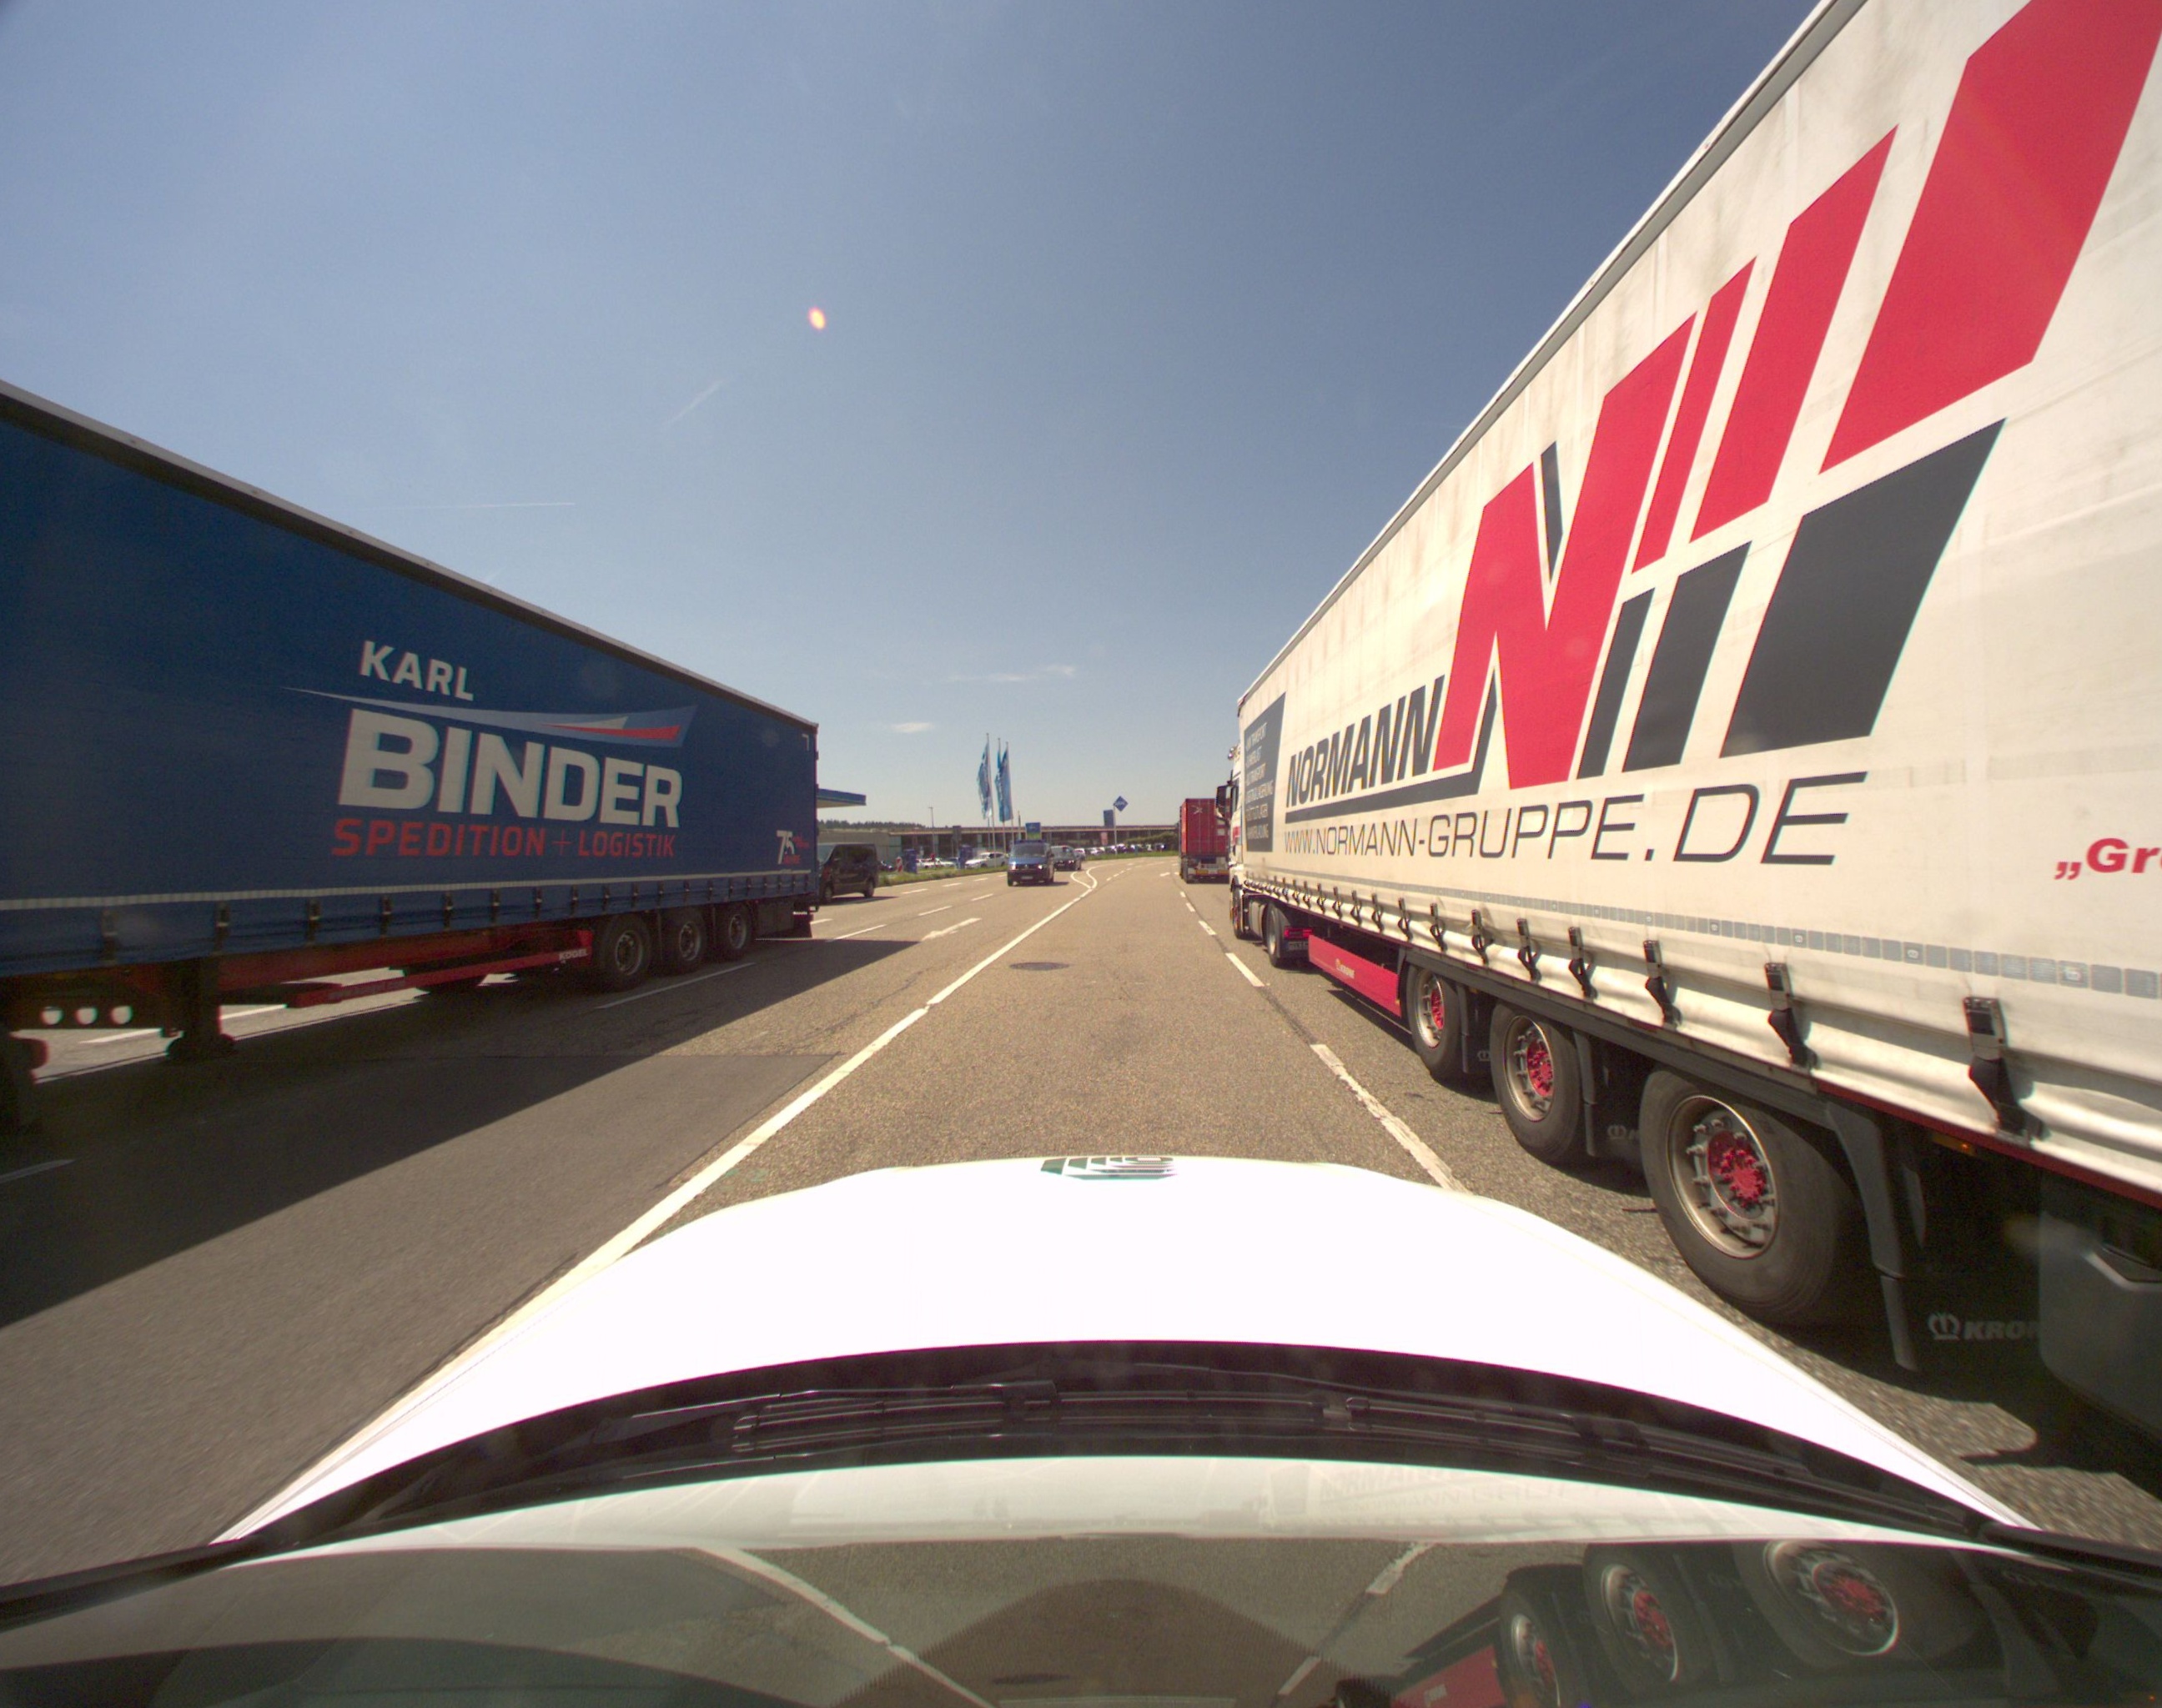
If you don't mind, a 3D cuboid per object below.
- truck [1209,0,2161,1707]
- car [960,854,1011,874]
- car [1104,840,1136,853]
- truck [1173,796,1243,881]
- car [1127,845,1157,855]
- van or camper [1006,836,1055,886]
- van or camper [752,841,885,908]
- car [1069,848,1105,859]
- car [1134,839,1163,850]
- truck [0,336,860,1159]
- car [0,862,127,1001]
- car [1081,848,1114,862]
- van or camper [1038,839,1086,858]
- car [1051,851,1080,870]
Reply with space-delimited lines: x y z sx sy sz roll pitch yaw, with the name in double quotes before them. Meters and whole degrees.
"truck" 3.579 -0.616 7.485 2.960 4.093 17.650 -1 0 3
"car" -8.448 0.878 72.268 1.844 1.712 4.548 -2 -1 38
"car" 5.402 -1.028 114.001 3.948 1.750 2.013 -2 -1 34
"truck" 6.447 -0.837 43.178 2.635 3.806 13.378 0 1 5
"car" 9.085 -0.619 121.061 3.948 1.317 1.845 -3 0 31
"van or camper" -2.288 0.268 38.125 1.830 2.138 5.344 -1 0 1
"van or camper" -8.483 0.573 26.924 1.983 1.935 5.394 -2 0 7
"car" 0.769 -0.085 107.187 4.195 1.359 2.013 -1 0 32
"car" 10.184 -1.420 122.851 3.948 1.362 1.832 -3 0 31
"truck" -6.273 -0.469 6.990 2.831 3.889 17.025 -1 0 4
"car" -14.400 0.942 9.270 4.191 1.586 1.767 -1 0 -27
"car" 2.254 0.153 110.042 3.948 1.750 1.947 -1 0 34
"van or camper" -1.977 -0.544 86.850 4.820 1.905 1.908 -1 -1 8
"car" -1.075 0.457 58.200 1.842 1.271 4.177 -1 0 1
